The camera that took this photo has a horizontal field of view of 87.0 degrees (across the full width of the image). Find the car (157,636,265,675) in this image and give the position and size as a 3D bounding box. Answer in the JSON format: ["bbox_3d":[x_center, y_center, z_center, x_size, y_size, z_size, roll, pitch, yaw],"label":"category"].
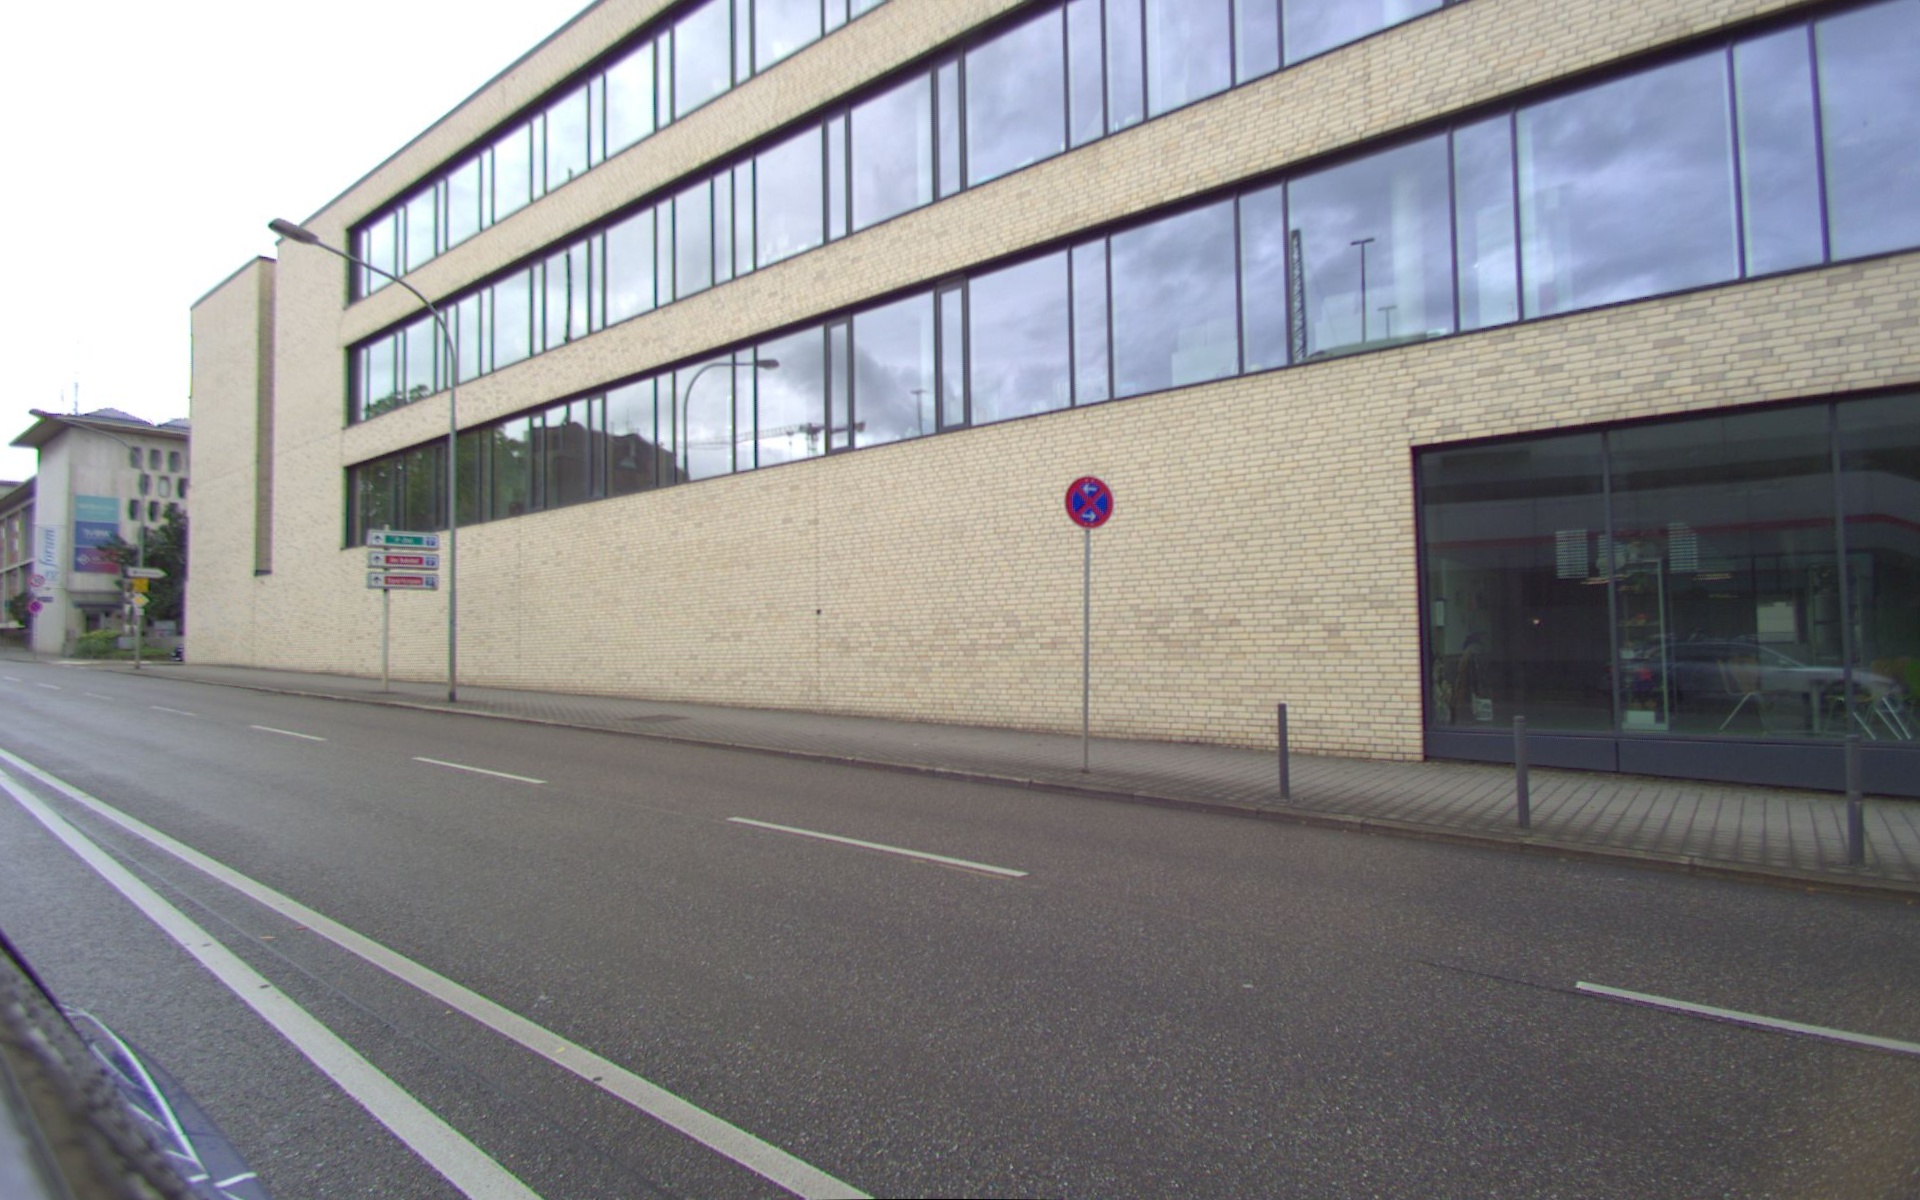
[{"bbox_3d":[-35.197,2.563,47.706,3.932,1.674,1.866,0,-1,-31],"label":"car"}]
